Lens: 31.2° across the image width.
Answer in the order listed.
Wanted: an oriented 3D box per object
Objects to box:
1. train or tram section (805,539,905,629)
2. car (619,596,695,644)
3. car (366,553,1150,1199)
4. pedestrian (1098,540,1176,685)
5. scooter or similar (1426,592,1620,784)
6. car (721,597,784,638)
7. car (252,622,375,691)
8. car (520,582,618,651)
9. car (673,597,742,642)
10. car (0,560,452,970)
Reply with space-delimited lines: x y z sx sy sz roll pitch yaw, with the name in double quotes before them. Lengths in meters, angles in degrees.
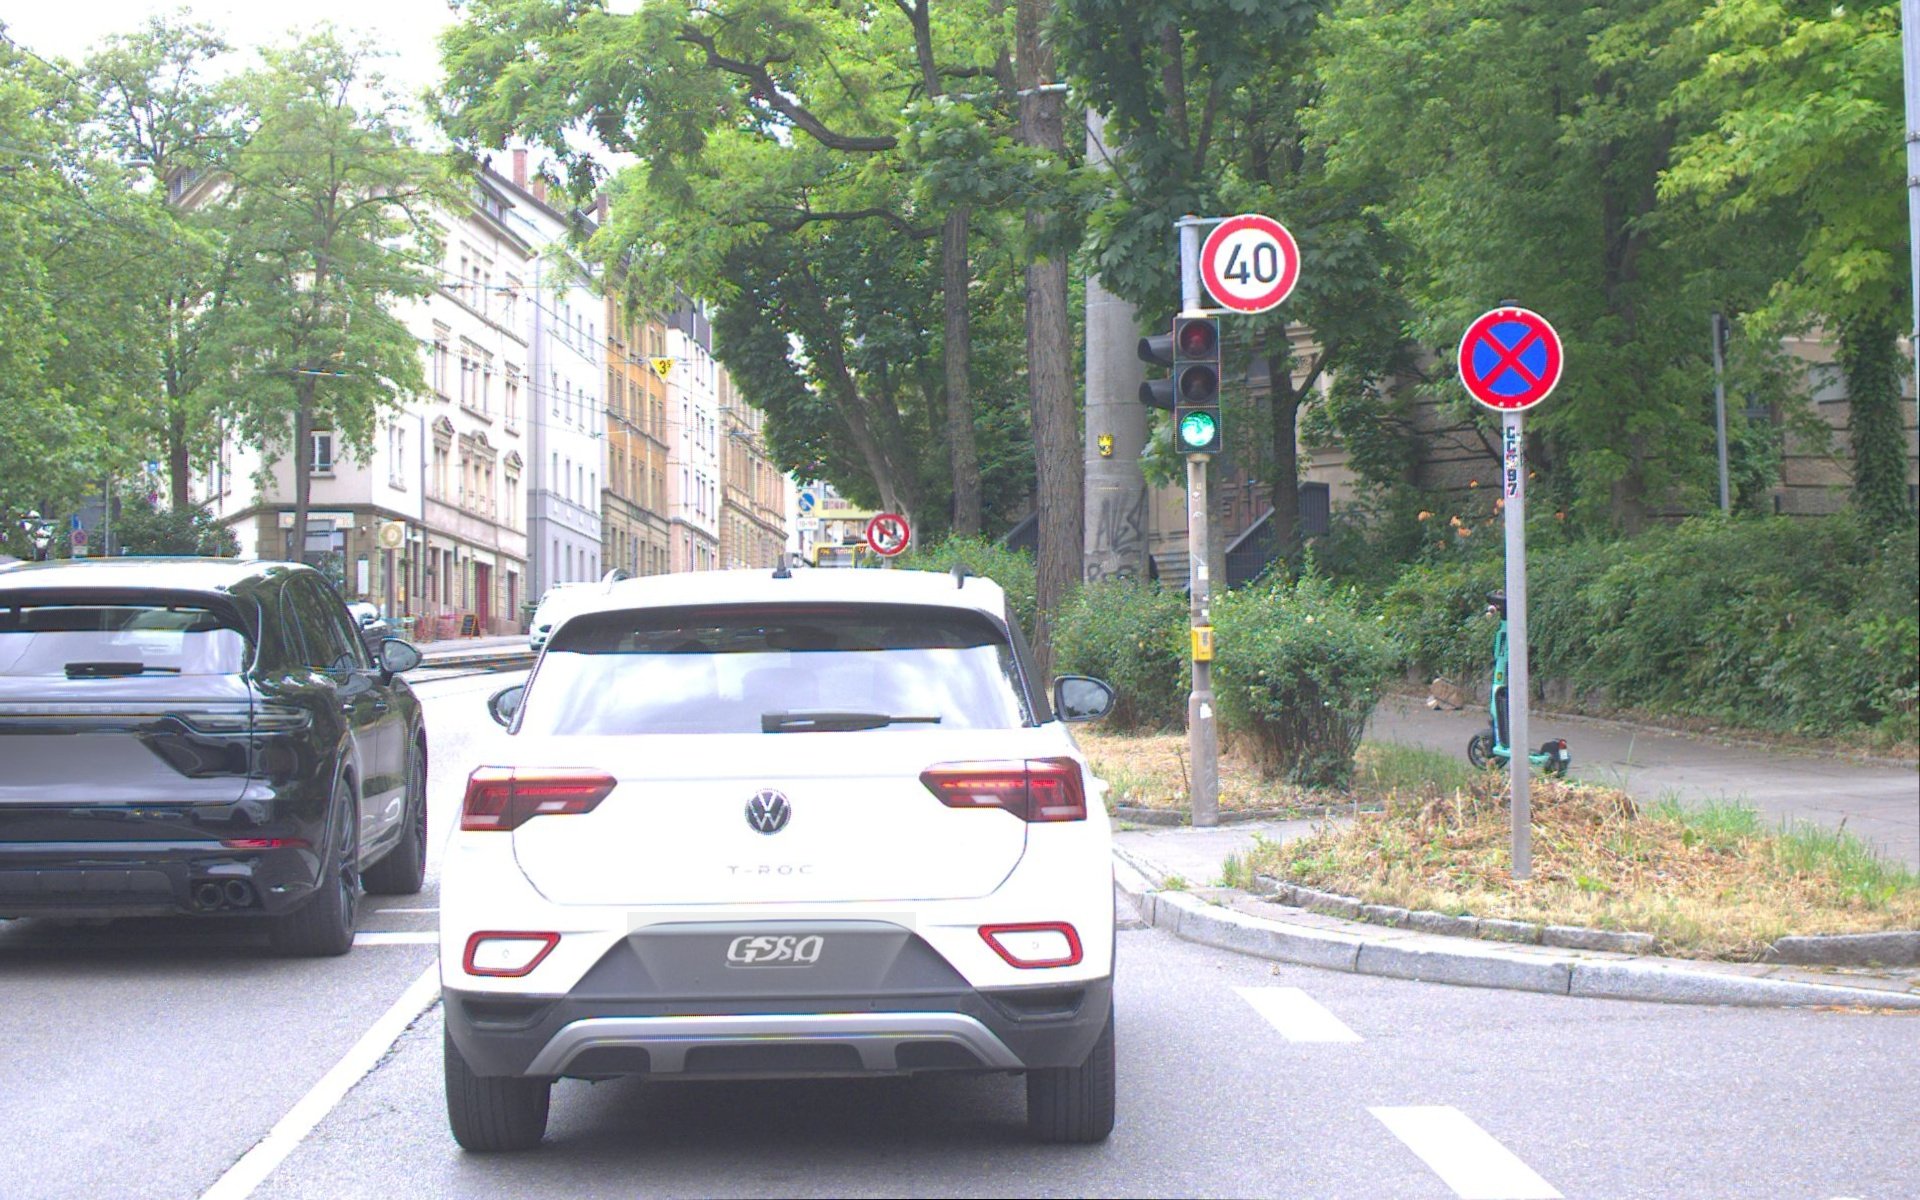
"train or tram section" -4.447 -0.668 149.646 2.883 3.713 14.854 1 0 4
"car" -10.271 0.673 116.643 1.994 1.547 4.000 -1 0 3
"car" -0.515 0.671 10.329 1.879 1.549 4.000 -1 0 -1
"pedestrian" 2.104 0.149 40.875 0.771 1.697 0.785 -1 0 -7
"scooter or similar" 3.679 0.561 22.593 0.630 1.206 1.558 -1 0 -16
"car" -8.157 0.679 135.222 1.994 1.547 4.000 -1 0 3
"car" -14.146 1.218 75.445 1.766 1.403 4.082 -1 0 2
"car" -11.560 0.456 101.907 1.947 1.939 5.001 -1 1 5
"car" -9.123 0.690 124.502 1.994 1.547 4.000 -1 0 3
"car" -3.515 0.638 15.427 2.037 1.566 4.358 -1 0 -3
